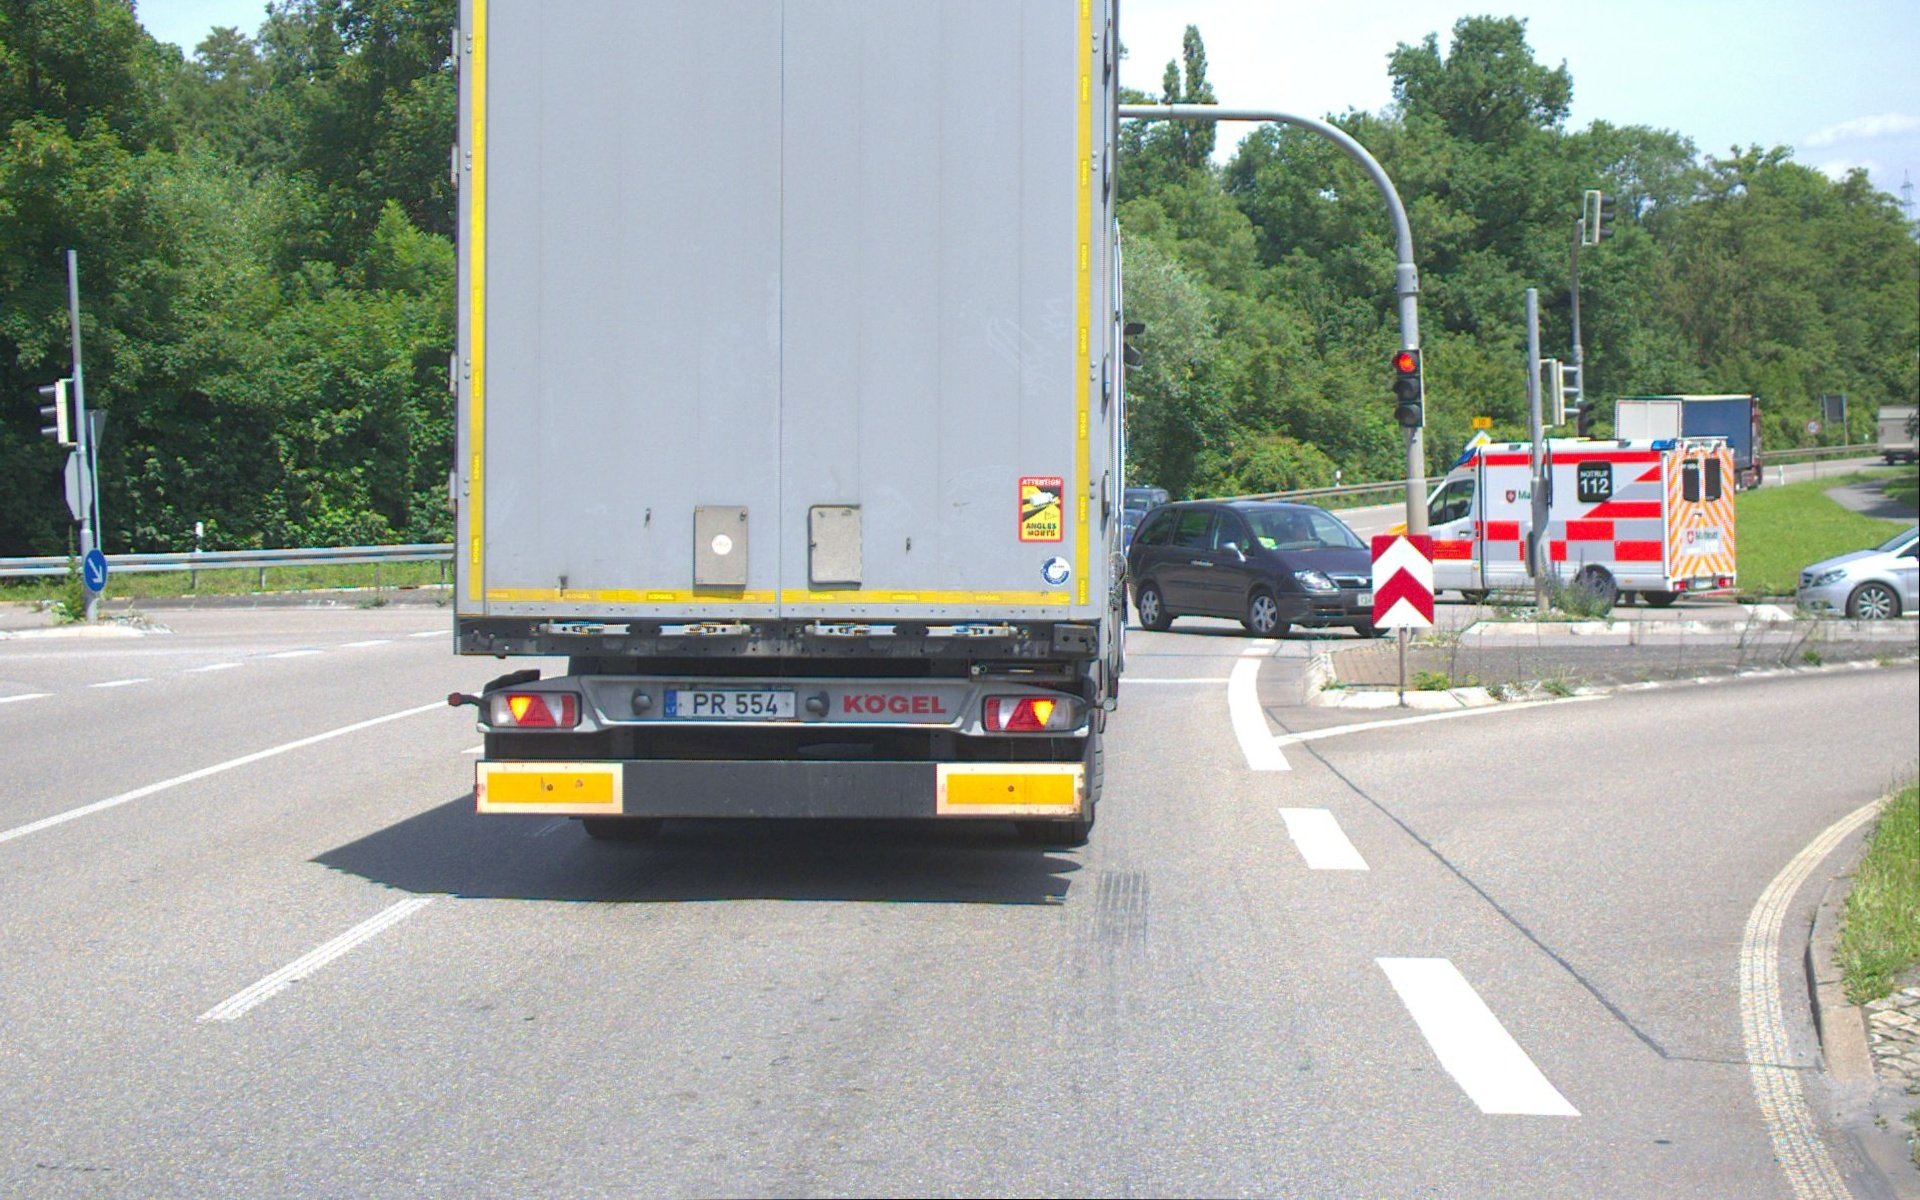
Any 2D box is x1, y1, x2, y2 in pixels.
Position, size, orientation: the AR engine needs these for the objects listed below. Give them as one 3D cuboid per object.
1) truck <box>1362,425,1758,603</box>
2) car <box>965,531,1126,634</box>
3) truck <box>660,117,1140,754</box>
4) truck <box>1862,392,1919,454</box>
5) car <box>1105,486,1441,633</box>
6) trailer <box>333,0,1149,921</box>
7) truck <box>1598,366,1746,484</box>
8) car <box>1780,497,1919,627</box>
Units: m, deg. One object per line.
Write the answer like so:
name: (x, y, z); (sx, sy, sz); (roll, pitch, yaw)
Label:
truck: (9.758, -1.347, 56.326); (2.495, 2.718, 6.027); (2, -1, -45)
car: (1.266, -0.241, 52.654); (1.993, 1.486, 4.258); (1, -1, -5)
truck: (-0.226, -1.140, 25.079); (3.038, 4.020, 6.629); (0, 2, 3)
truck: (47.846, -8.953, 174.869); (2.859, 2.938, 7.096); (1, 1, 22)
car: (3.989, -0.494, 44.784); (1.993, 1.779, 4.943); (1, -1, -27)
trailer: (-0.522, -0.984, 19.107); (3.052, 4.020, 12.558); (0, 1, 3)
truck: (27.860, -6.740, 134.009); (3.183, 4.015, 11.730); (1, 0, 24)
car: (13.646, -0.486, 47.108); (4.429, 1.712, 1.999); (1, -1, 6)
